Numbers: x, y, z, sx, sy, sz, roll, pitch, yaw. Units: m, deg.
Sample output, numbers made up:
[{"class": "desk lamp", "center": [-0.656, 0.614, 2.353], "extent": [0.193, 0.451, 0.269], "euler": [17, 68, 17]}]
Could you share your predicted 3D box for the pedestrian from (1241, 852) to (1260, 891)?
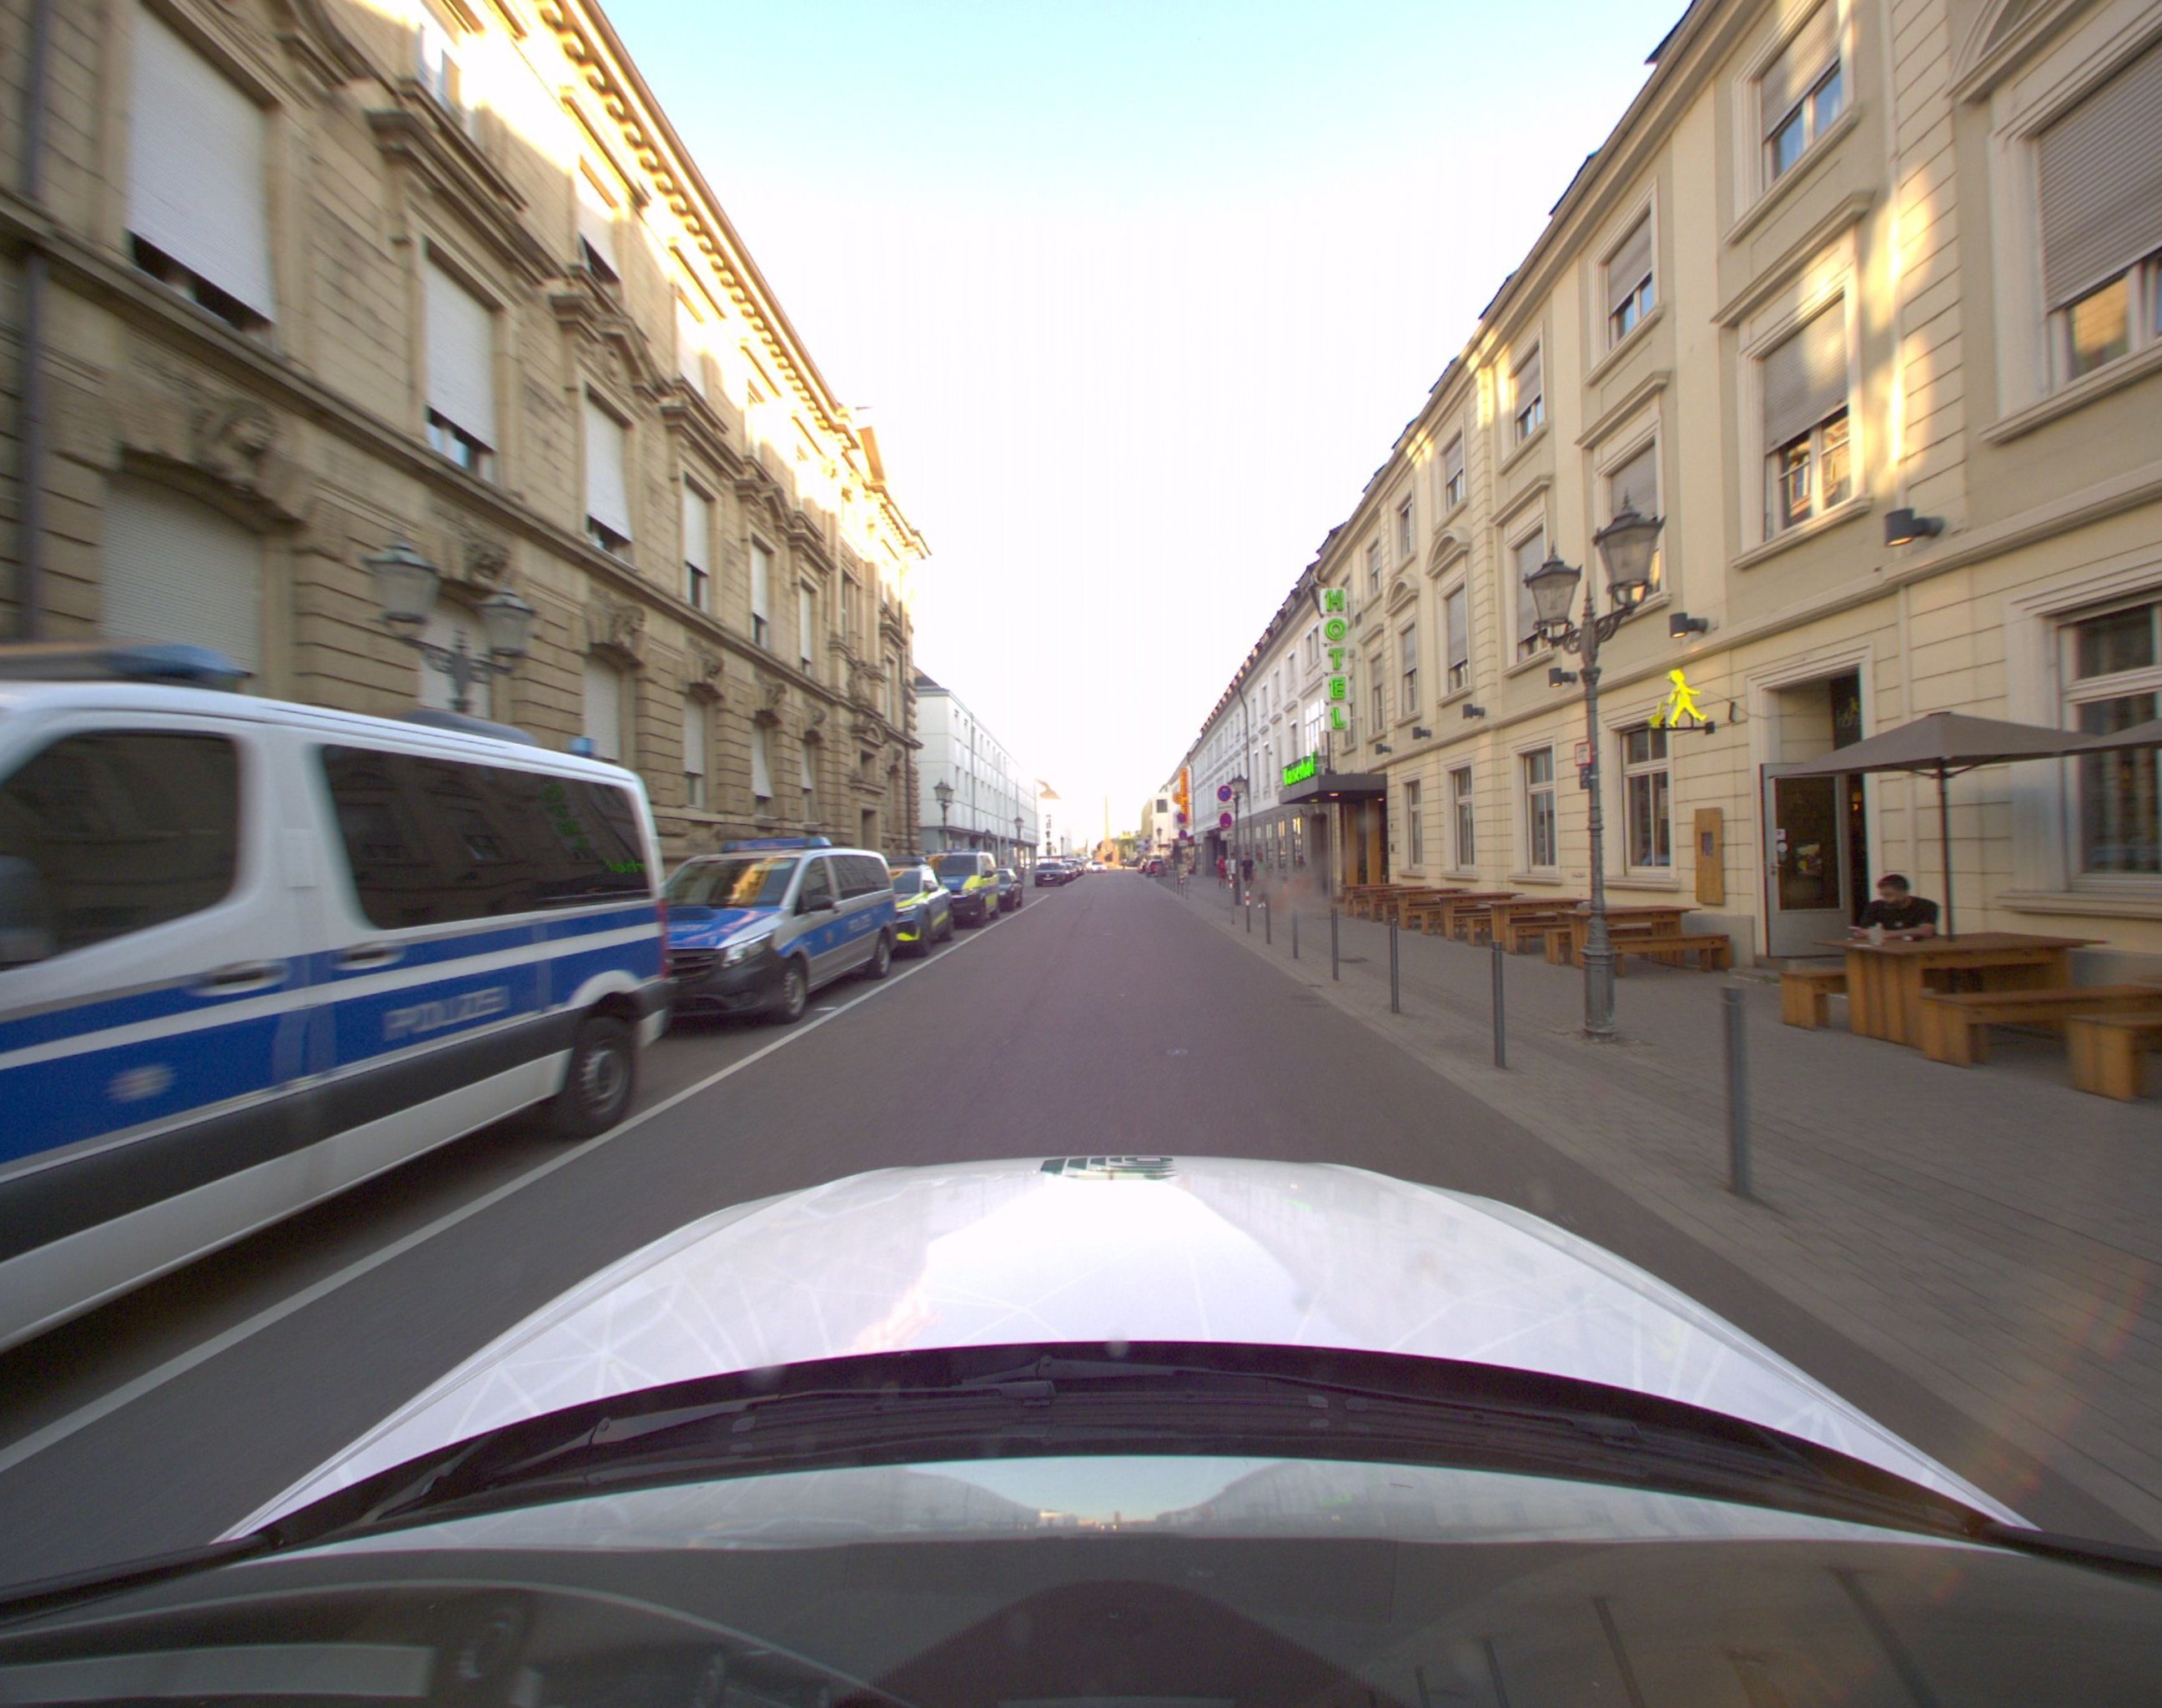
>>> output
[{"class": "pedestrian", "center": [7.648, 0.768, 36.793], "extent": [0.710, 1.730, 0.874], "euler": [-2, -1, 4]}]

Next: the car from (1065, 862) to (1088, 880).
[{"class": "car", "center": [-0.395, 1.694, 82.613], "extent": [1.985, 1.728, 4.519], "euler": [-3, -1, 3]}]

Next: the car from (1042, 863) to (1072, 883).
[{"class": "car", "center": [-1.736, 1.375, 60.161], "extent": [1.777, 1.408, 4.091], "euler": [-2, -1, 3]}]

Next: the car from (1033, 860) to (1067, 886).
[{"class": "car", "center": [-1.949, 1.207, 52.869], "extent": [1.777, 1.615, 4.169], "euler": [-2, -1, 3]}]

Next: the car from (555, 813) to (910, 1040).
[{"class": "car", "center": [-3.860, 0.721, 10.324], "extent": [1.985, 2.087, 5.210], "euler": [-2, -1, 3]}]

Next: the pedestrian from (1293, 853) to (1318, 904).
[{"class": "pedestrian", "center": [7.163, 0.782, 26.008], "extent": [0.627, 1.601, 0.615], "euler": [-2, -1, 3]}]

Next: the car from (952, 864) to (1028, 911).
[{"class": "car", "center": [-3.110, 1.120, 28.785], "extent": [1.985, 1.494, 4.167], "euler": [-2, -1, 3]}]

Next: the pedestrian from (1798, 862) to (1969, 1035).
[{"class": "pedestrian", "center": [6.830, 0.763, 6.958], "extent": [0.775, 1.359, 0.720], "euler": [-1, -1, -14]}]

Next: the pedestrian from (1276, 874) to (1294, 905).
[{"class": "pedestrian", "center": [6.566, 1.134, 26.194], "extent": [0.458, 0.980, 0.559], "euler": [-2, -1, 3]}]

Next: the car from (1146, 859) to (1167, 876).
[{"class": "car", "center": [7.090, 1.288, 76.742], "extent": [1.752, 1.523, 3.680], "euler": [-1, -1, 3]}]

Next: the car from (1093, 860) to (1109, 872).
[{"class": "car", "center": [2.519, 1.516, 101.885], "extent": [1.777, 1.408, 4.091], "euler": [-2, -1, 3]}]

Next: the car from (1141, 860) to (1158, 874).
[{"class": "car", "center": [7.601, 1.415, 90.682], "extent": [1.794, 1.464, 4.120], "euler": [-1, -1, 3]}]

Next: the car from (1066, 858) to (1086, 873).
[{"class": "car", "center": [-0.518, 1.248, 89.436], "extent": [1.985, 1.662, 4.003], "euler": [-1, -1, 3]}]

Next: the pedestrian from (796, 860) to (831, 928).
[{"class": "pedestrian", "center": [-7.011, 1.042, 21.376], "extent": [0.580, 1.730, 0.831], "euler": [-2, -1, 3]}]

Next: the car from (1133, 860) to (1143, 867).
[{"class": "car", "center": [12.616, 2.112, 180.654], "extent": [1.985, 1.464, 4.004], "euler": [-2, -1, 4]}]

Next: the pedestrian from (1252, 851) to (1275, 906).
[{"class": "pedestrian", "center": [5.862, 0.783, 26.207], "extent": [0.604, 1.730, 0.559], "euler": [-2, -1, 3]}]

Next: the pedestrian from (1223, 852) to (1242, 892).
[{"class": "pedestrian", "center": [6.793, 0.792, 36.496], "extent": [0.744, 1.730, 0.882], "euler": [-2, -1, 5]}]

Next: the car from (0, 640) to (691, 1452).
[{"class": "car", "center": [-3.893, 0.540, 3.394], "extent": [1.987, 2.171, 5.206], "euler": [-1, -1, 0]}]

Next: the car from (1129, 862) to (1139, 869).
[{"class": "car", "center": [11.201, 2.356, 172.217], "extent": [1.985, 1.464, 4.004], "euler": [-2, -1, 4]}]

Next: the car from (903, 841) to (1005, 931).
[{"class": "car", "center": [-3.289, 0.815, 22.088], "extent": [1.988, 2.077, 4.987], "euler": [-2, -1, -1]}]

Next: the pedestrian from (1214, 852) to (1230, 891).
[{"class": "pedestrian", "center": [6.625, 0.807, 38.225], "extent": [0.617, 1.789, 0.914], "euler": [-2, -1, 4]}]

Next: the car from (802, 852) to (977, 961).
[{"class": "car", "center": [-3.512, 0.908, 16.051], "extent": [1.985, 1.752, 4.993], "euler": [-2, -1, 3]}]
